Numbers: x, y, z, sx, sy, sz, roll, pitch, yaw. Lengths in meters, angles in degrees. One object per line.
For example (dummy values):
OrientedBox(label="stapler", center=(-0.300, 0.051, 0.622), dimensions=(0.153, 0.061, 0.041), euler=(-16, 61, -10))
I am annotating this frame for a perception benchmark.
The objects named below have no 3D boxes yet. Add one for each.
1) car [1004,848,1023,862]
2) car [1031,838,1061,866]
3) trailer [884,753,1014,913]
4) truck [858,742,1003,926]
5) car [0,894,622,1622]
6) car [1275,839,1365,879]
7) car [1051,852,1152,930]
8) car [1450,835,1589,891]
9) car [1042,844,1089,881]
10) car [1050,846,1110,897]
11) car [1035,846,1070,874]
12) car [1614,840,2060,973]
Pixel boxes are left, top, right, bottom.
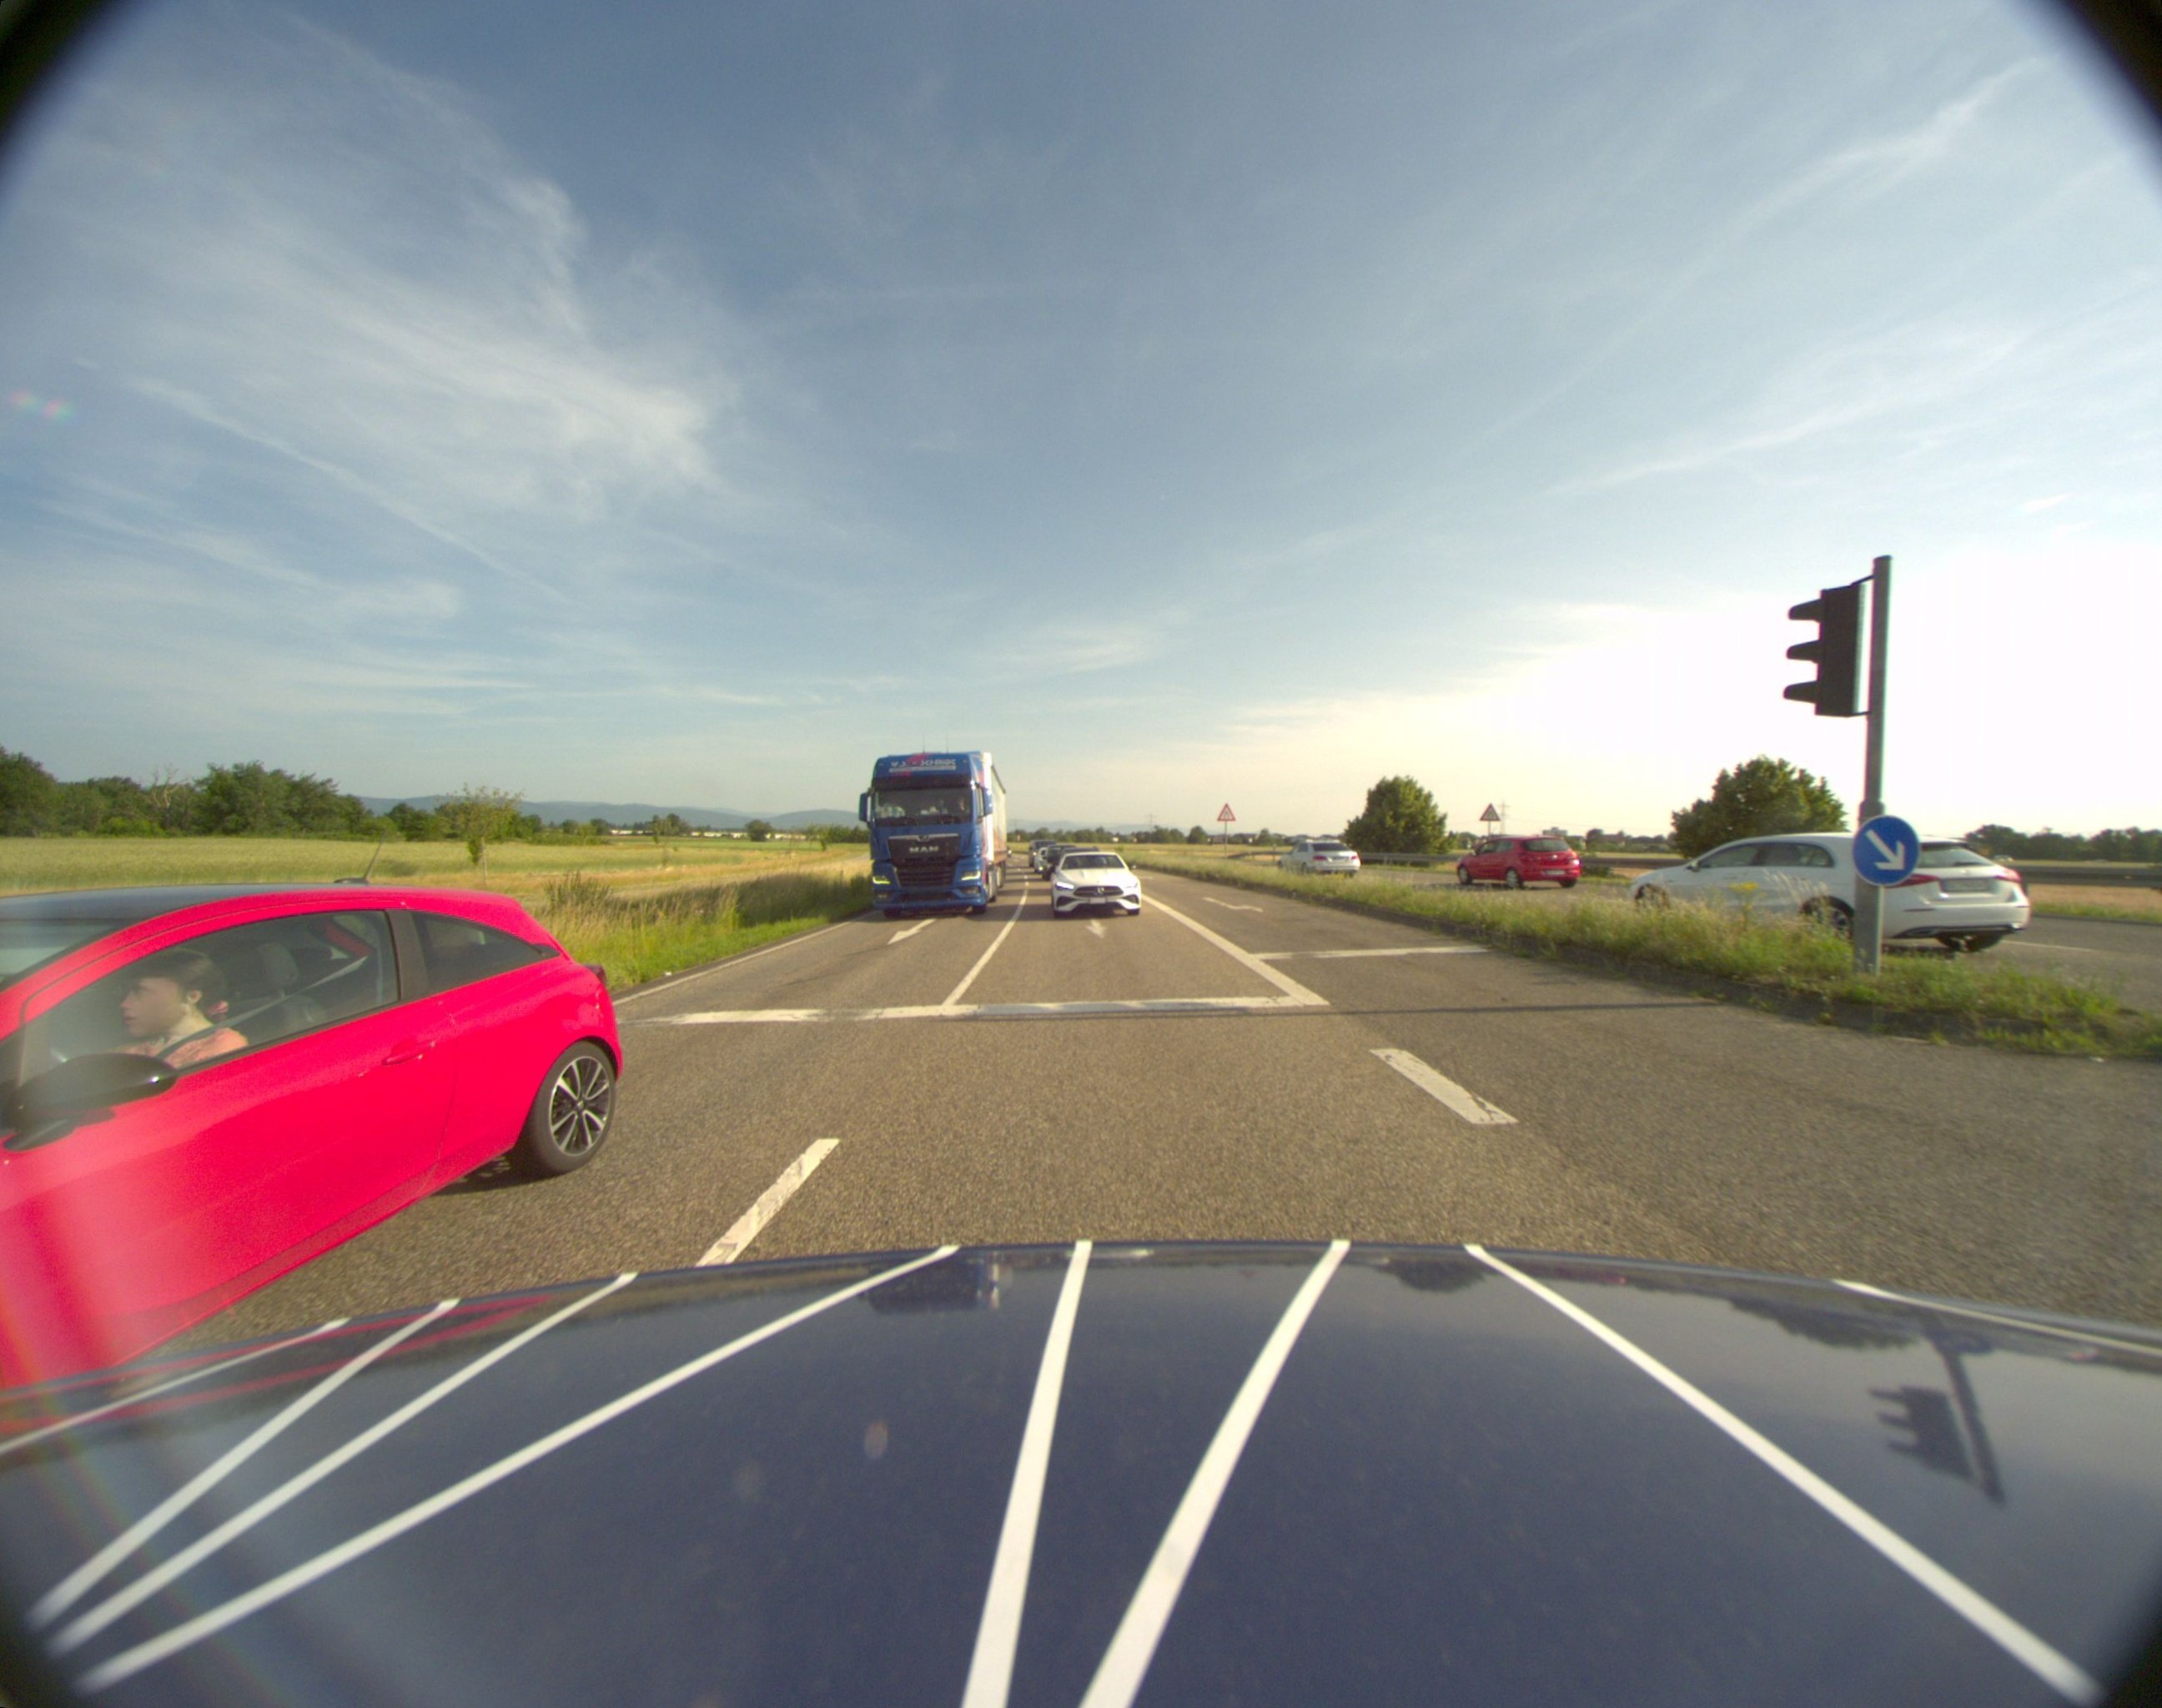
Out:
OrientedBox(label="car", center=(-7.917, 0.092, 88.958), dimensions=(2.000, 1.525, 3.996), euler=(-1, 1, -9))
OrientedBox(label="car", center=(-2.467, -0.147, 52.853), dimensions=(1.832, 1.831, 3.997), euler=(-1, 1, -6))
OrientedBox(label="trailer", center=(-3.935, -0.655, 26.109), dimensions=(2.652, 3.956, 13.923), euler=(-2, 1, -3))
OrientedBox(label="truck", center=(-3.547, -0.495, 19.384), dimensions=(2.652, 3.897, 5.947), euler=(-2, 1, -3))
OrientedBox(label="car", center=(-3.279, 1.000, 2.101), dimensions=(1.666, 1.456, 3.953), euler=(-1, 1, -2))
OrientedBox(label="car", center=(9.237, 0.140, 29.779), dimensions=(1.932, 1.427, 4.699), euler=(-1, 1, -2))
OrientedBox(label="car", center=(0.318, 0.694, 16.605), dimensions=(1.876, 1.390, 4.202), euler=(-1, 1, -3))
OrientedBox(label="car", center=(12.556, 0.209, 22.077), dimensions=(1.664, 1.458, 4.021), euler=(-1, 1, -1))
OrientedBox(label="car", center=(-0.750, 0.332, 34.003), dimensions=(1.831, 1.521, 3.998), euler=(-1, 1, -4))
OrientedBox(label="car", center=(-0.096, 0.519, 25.385), dimensions=(1.752, 1.521, 3.998), euler=(-1, 1, -3))
OrientedBox(label="car", center=(-1.616, 0.282, 42.065), dimensions=(1.695, 1.406, 3.997), euler=(-1, 1, -5))
OrientedBox(label="car", center=(9.715, 0.537, 10.419), dimensions=(1.734, 1.405, 4.393), euler=(-1, 1, 0))
